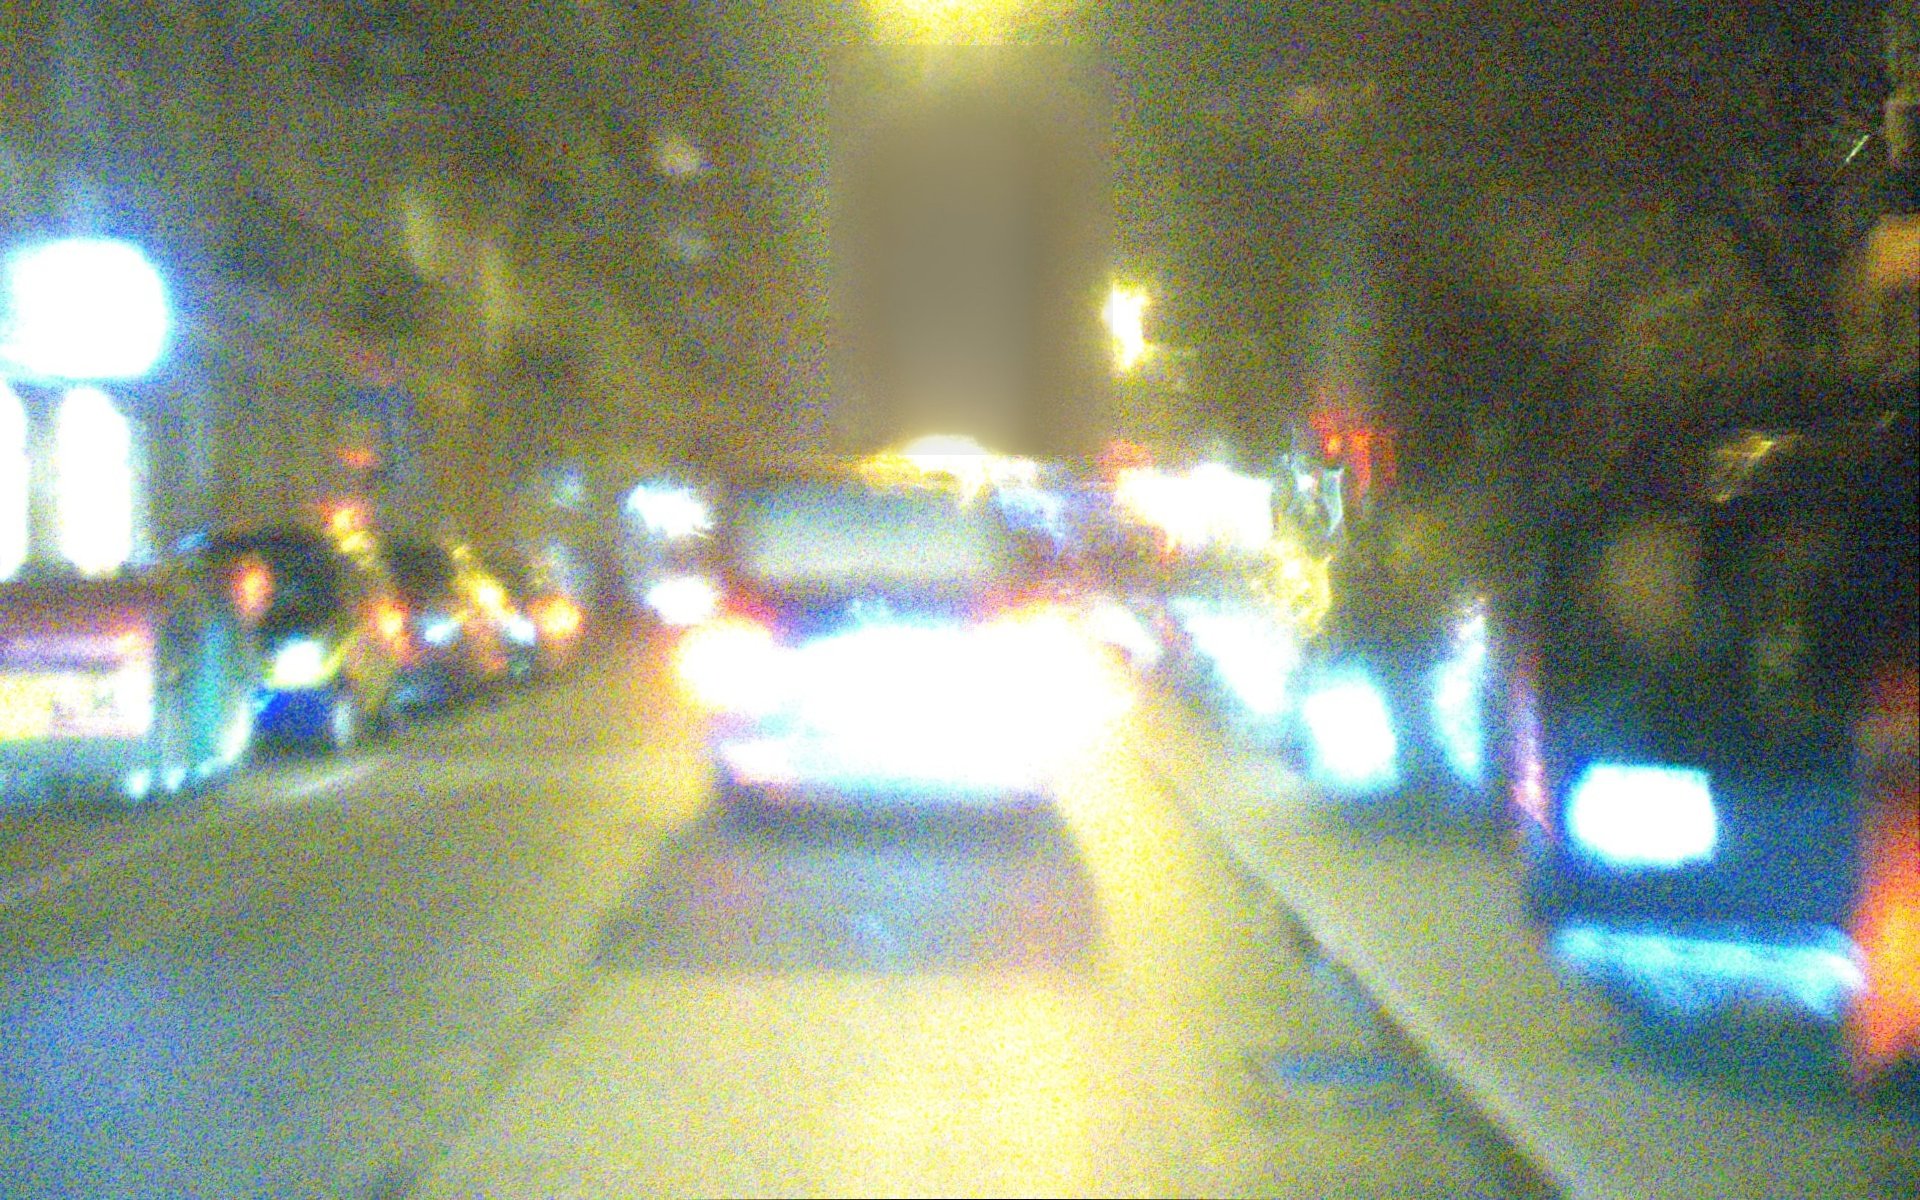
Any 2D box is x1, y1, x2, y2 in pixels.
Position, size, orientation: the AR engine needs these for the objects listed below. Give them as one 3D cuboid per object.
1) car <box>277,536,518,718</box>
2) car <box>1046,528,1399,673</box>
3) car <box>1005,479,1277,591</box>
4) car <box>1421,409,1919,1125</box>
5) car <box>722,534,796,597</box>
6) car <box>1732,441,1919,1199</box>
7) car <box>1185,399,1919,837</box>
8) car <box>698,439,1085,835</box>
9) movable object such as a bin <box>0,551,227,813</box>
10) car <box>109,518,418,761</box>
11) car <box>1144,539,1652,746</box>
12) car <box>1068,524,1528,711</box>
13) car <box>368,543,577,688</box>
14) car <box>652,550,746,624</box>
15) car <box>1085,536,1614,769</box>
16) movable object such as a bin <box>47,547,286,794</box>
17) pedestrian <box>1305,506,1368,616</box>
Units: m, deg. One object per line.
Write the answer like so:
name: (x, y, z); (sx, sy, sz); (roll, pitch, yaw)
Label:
car: (-5.126, 0.194, 31.746); (1.603, 1.547, 4.026); (0, 1, -1)
car: (2.979, -0.010, 38.822); (3.672, 1.455, 1.604); (-3, 1, -31)
car: (3.432, -1.252, 65.008); (4.784, 2.042, 2.067); (-1, 1, -31)
car: (3.643, 0.343, 10.814); (4.235, 1.852, 1.716); (-4, 1, -35)
car: (-5.038, -0.875, 85.932); (1.812, 1.552, 4.077); (0, 1, -4)
car: (3.808, 0.512, 8.157); (3.763, 1.722, 1.717); (0, 1, -33)
car: (3.763, 0.026, 19.770); (4.711, 2.240, 1.946); (-2, 1, -36)
car: (-0.361, 0.184, 19.799); (1.993, 2.043, 4.000); (0, 0, 0)
movable object such as a bin: (-4.986, 0.452, 19.884); (1.208, 1.454, 1.107); (1, 1, 2)
car: (-5.178, 0.247, 25.978); (1.603, 1.700, 3.721); (0, 1, -1)
car: (3.747, 0.327, 29.182); (3.988, 1.547, 1.999); (-2, 1, -38)
car: (3.158, 0.137, 31.881); (3.988, 1.547, 1.804); (-2, 1, -35)
car: (-5.228, 0.120, 37.336); (1.686, 1.450, 4.316); (0, 1, -1)
car: (-5.306, -0.286, 70.208); (1.587, 1.477, 3.793); (0, 1, 1)
car: (2.914, 0.352, 25.564); (3.641, 1.536, 1.560); (-2, 1, -30)
movable object such as a bin: (-4.857, 0.413, 21.116); (1.165, 1.454, 1.107); (1, 1, 2)
pedestrian: (6.554, -0.680, 59.856); (0.868, 1.849, 0.993); (-3, 1, -2)
